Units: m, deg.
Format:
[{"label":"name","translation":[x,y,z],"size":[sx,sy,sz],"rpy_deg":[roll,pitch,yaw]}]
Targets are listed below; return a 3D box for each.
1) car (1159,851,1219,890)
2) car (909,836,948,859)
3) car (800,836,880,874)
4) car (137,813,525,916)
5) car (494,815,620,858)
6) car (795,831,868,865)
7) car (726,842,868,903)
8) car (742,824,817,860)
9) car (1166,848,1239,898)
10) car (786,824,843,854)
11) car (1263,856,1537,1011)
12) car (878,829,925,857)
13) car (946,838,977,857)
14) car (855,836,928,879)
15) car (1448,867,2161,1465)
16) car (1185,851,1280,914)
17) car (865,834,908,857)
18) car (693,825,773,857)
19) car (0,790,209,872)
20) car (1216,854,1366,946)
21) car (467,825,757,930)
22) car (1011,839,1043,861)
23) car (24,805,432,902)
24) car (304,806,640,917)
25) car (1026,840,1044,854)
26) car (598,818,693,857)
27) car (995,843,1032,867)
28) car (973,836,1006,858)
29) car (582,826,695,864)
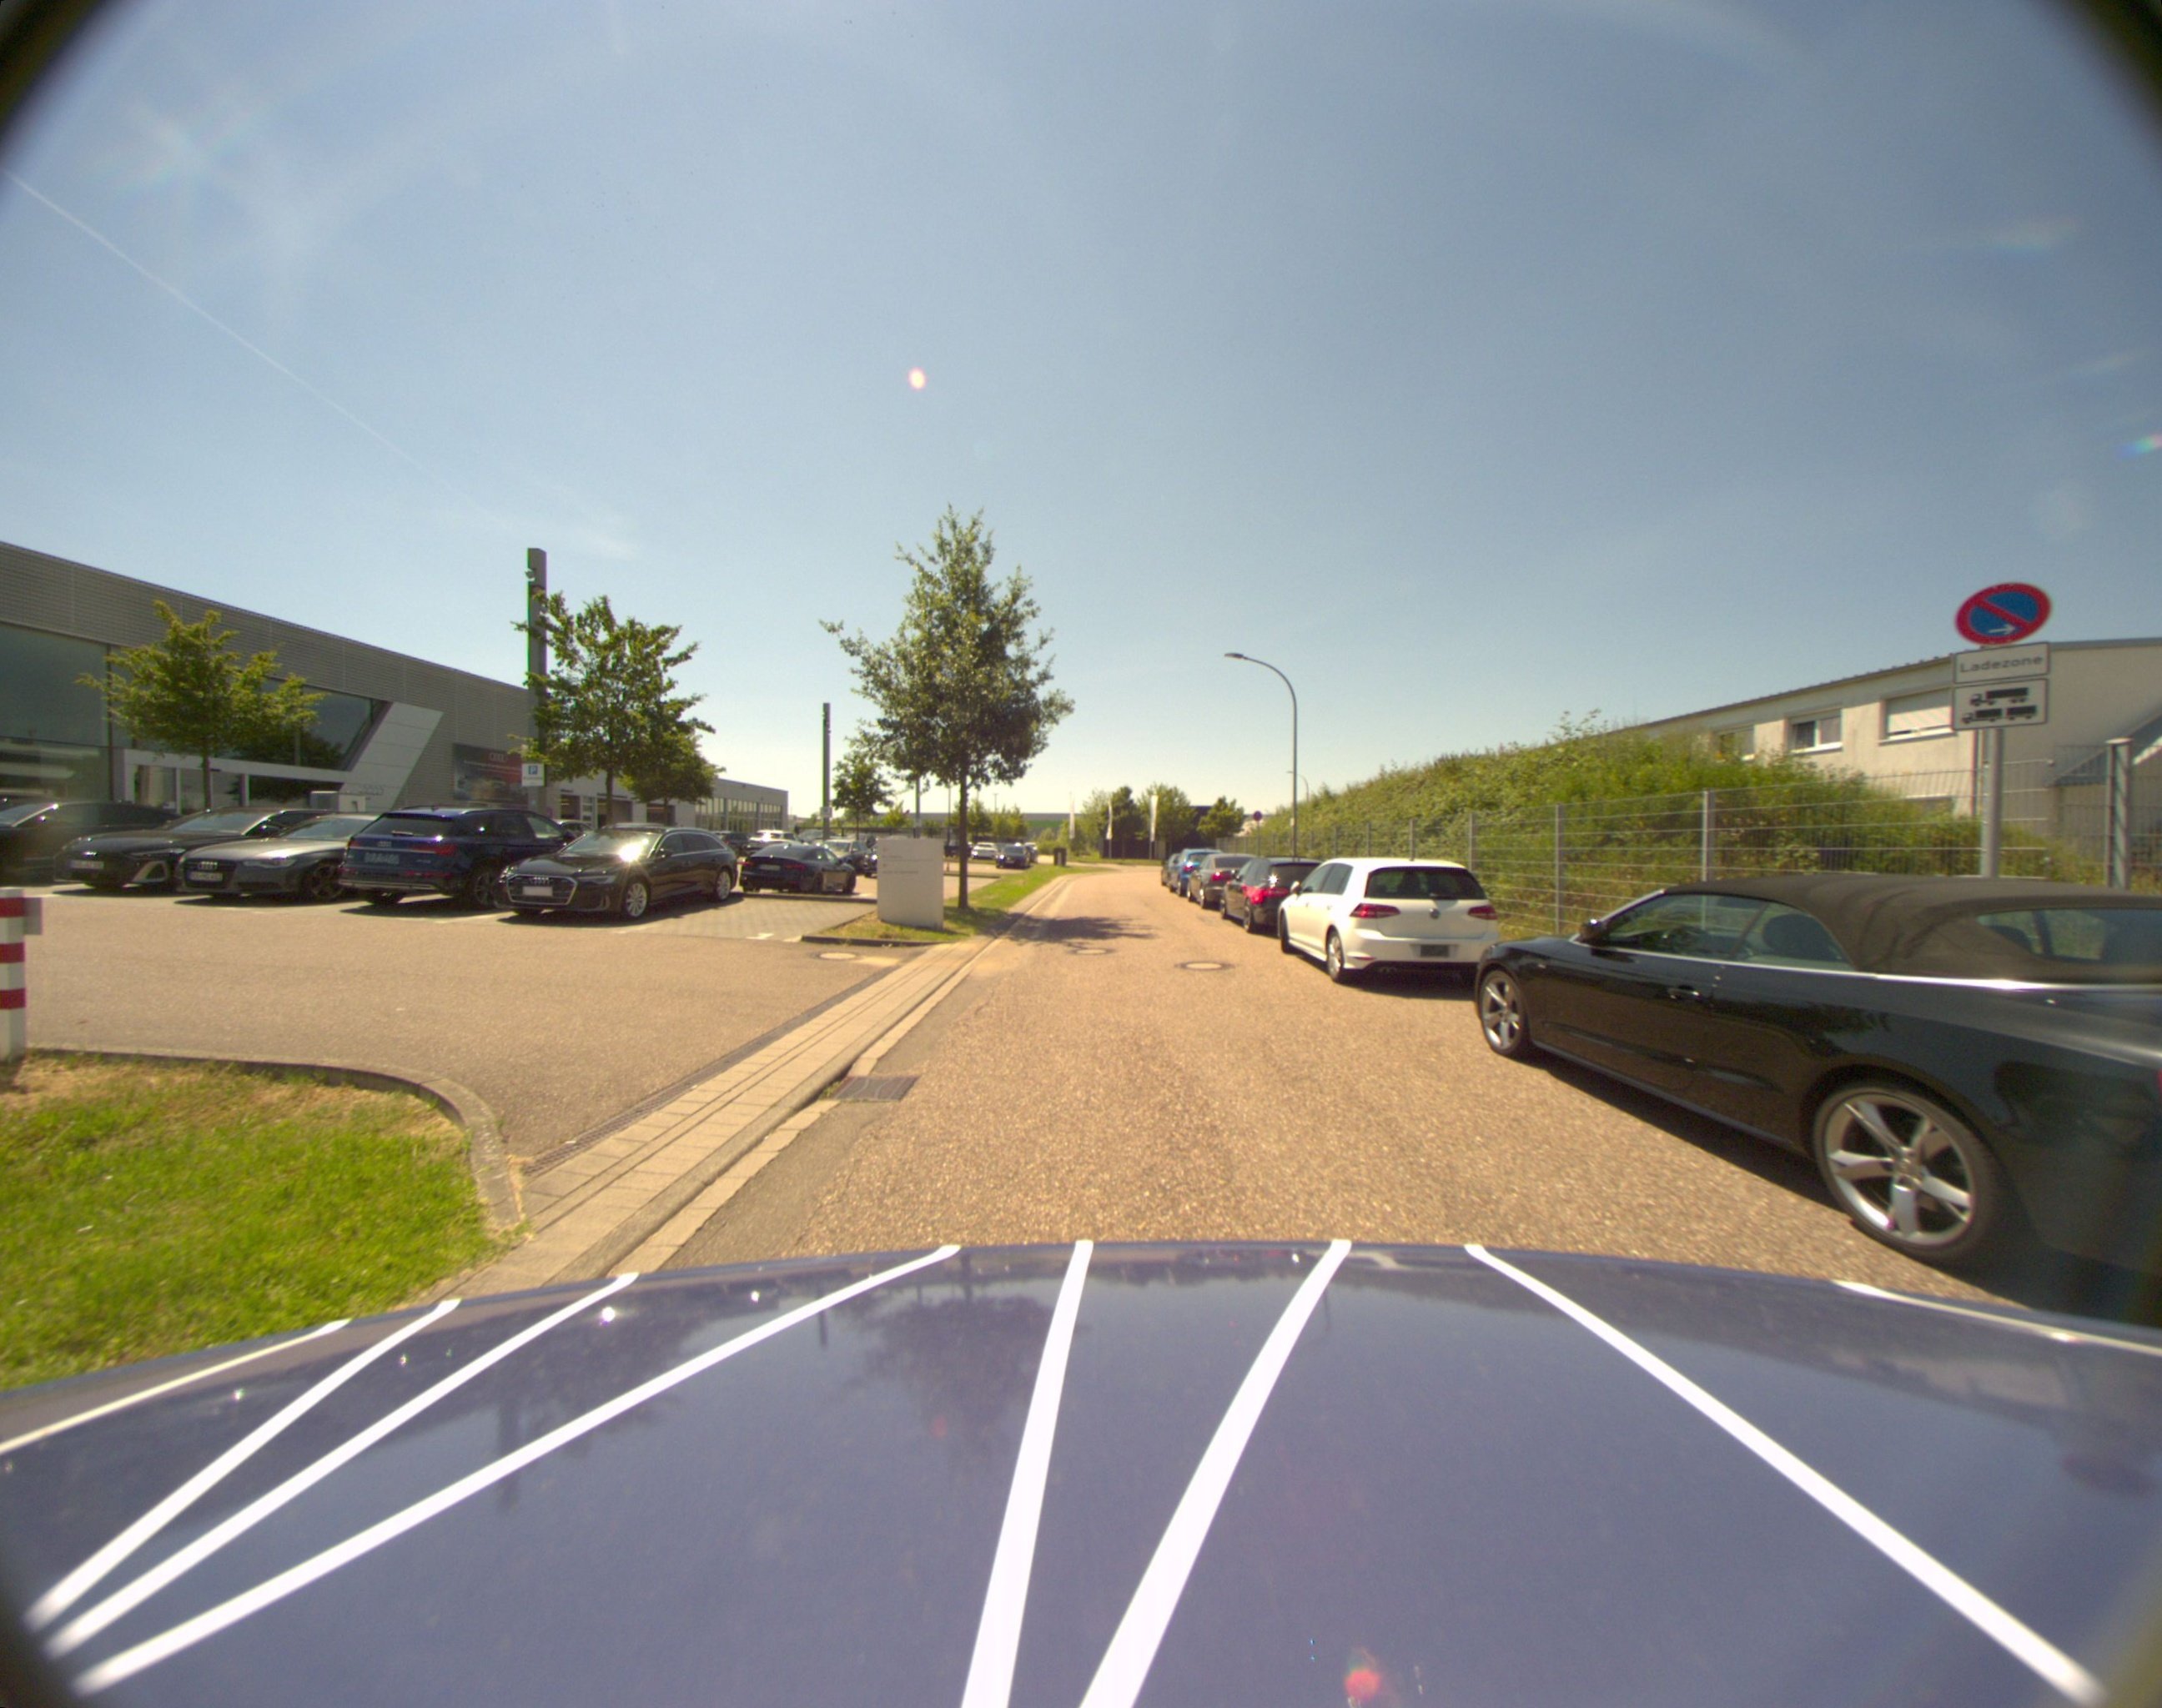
[{"label":"car","translation":[4.412,0.642,31.617],"size":[1.829,1.446,4.580],"rpy_deg":[1,1,0]},{"label":"car","translation":[-11.353,-0.494,56.816],"size":[1.966,1.620,4.625],"rpy_deg":[2,1,0]},{"label":"car","translation":[-10.010,0.023,31.933],"size":[1.966,1.358,4.227],"rpy_deg":[3,1,0]},{"label":"car","translation":[-12.869,0.049,13.684],"size":[1.966,1.449,4.984],"rpy_deg":[2,3,1]},{"label":"car","translation":[-21.737,-0.708,31.766],"size":[1.966,1.583,4.427],"rpy_deg":[3,1,3]},{"label":"car","translation":[-12.462,-0.304,38.271],"size":[1.966,1.544,5.005],"rpy_deg":[2,1,0]},{"label":"car","translation":[-7.555,0.458,20.798],"size":[1.966,1.358,4.721],"rpy_deg":[3,0,1]},{"label":"car","translation":[-14.858,-0.579,37.728],"size":[1.966,1.604,4.288],"rpy_deg":[2,1,0]},{"label":"car","translation":[4.124,0.590,26.496],"size":[1.829,1.561,4.386],"rpy_deg":[1,1,0]},{"label":"car","translation":[-17.310,-0.950,49.586],"size":[1.966,1.732,4.625],"rpy_deg":[4,1,0]},{"label":"car","translation":[3.751,0.814,9.860],"size":[1.828,1.491,4.258],"rpy_deg":[1,1,2]},{"label":"car","translation":[-11.591,-0.755,49.442],"size":[1.829,1.634,4.784],"rpy_deg":[3,1,0]},{"label":"car","translation":[-10.722,-0.588,68.389],"size":[1.966,1.620,4.625],"rpy_deg":[2,1,0]},{"label":"car","translation":[-7.836,0.105,31.758],"size":[1.892,1.562,4.227],"rpy_deg":[3,1,0]},{"label":"car","translation":[3.868,0.888,3.892],"size":[1.829,1.491,4.525],"rpy_deg":[1,1,1]},{"label":"car","translation":[4.050,0.695,20.995],"size":[1.828,1.491,4.520],"rpy_deg":[1,1,2]},{"label":"car","translation":[-14.498,-0.645,56.753],"size":[1.966,1.620,4.625],"rpy_deg":[2,1,0]},{"label":"car","translation":[-17.548,-0.661,38.559],"size":[1.966,1.468,4.371],"rpy_deg":[2,1,0]},{"label":"car","translation":[-22.046,-0.520,15.804],"size":[1.966,1.612,4.984],"rpy_deg":[2,3,1]},{"label":"car","translation":[3.971,0.786,15.176],"size":[1.828,1.491,4.520],"rpy_deg":[1,1,2]},{"label":"car","translation":[-7.844,0.245,13.464],"size":[1.966,1.449,4.984],"rpy_deg":[2,3,1]},{"label":"car","translation":[-3.948,-0.295,56.249],"size":[1.966,1.459,4.944],"rpy_deg":[2,1,0]},{"label":"car","translation":[-15.346,-0.116,14.276],"size":[1.966,1.449,4.984],"rpy_deg":[2,3,1]},{"label":"car","translation":[-10.436,0.005,13.712],"size":[1.966,1.589,4.984],"rpy_deg":[2,3,1]},{"label":"car","translation":[-5.788,-0.893,96.369],"size":[1.823,1.637,4.396],"rpy_deg":[2,1,3]},{"label":"car","translation":[-21.412,-0.789,37.613],"size":[1.966,1.729,4.728],"rpy_deg":[2,1,0]},{"label":"car","translation":[-4.343,0.035,49.398],"size":[1.884,1.446,5.023],"rpy_deg":[3,1,0]},{"label":"car","translation":[-6.765,-0.560,56.874],"size":[1.824,1.520,4.944],"rpy_deg":[2,1,0]},{"label":"car","translation":[-18.027,-0.370,31.223],"size":[1.966,1.358,4.466],"rpy_deg":[3,1,0]}]
